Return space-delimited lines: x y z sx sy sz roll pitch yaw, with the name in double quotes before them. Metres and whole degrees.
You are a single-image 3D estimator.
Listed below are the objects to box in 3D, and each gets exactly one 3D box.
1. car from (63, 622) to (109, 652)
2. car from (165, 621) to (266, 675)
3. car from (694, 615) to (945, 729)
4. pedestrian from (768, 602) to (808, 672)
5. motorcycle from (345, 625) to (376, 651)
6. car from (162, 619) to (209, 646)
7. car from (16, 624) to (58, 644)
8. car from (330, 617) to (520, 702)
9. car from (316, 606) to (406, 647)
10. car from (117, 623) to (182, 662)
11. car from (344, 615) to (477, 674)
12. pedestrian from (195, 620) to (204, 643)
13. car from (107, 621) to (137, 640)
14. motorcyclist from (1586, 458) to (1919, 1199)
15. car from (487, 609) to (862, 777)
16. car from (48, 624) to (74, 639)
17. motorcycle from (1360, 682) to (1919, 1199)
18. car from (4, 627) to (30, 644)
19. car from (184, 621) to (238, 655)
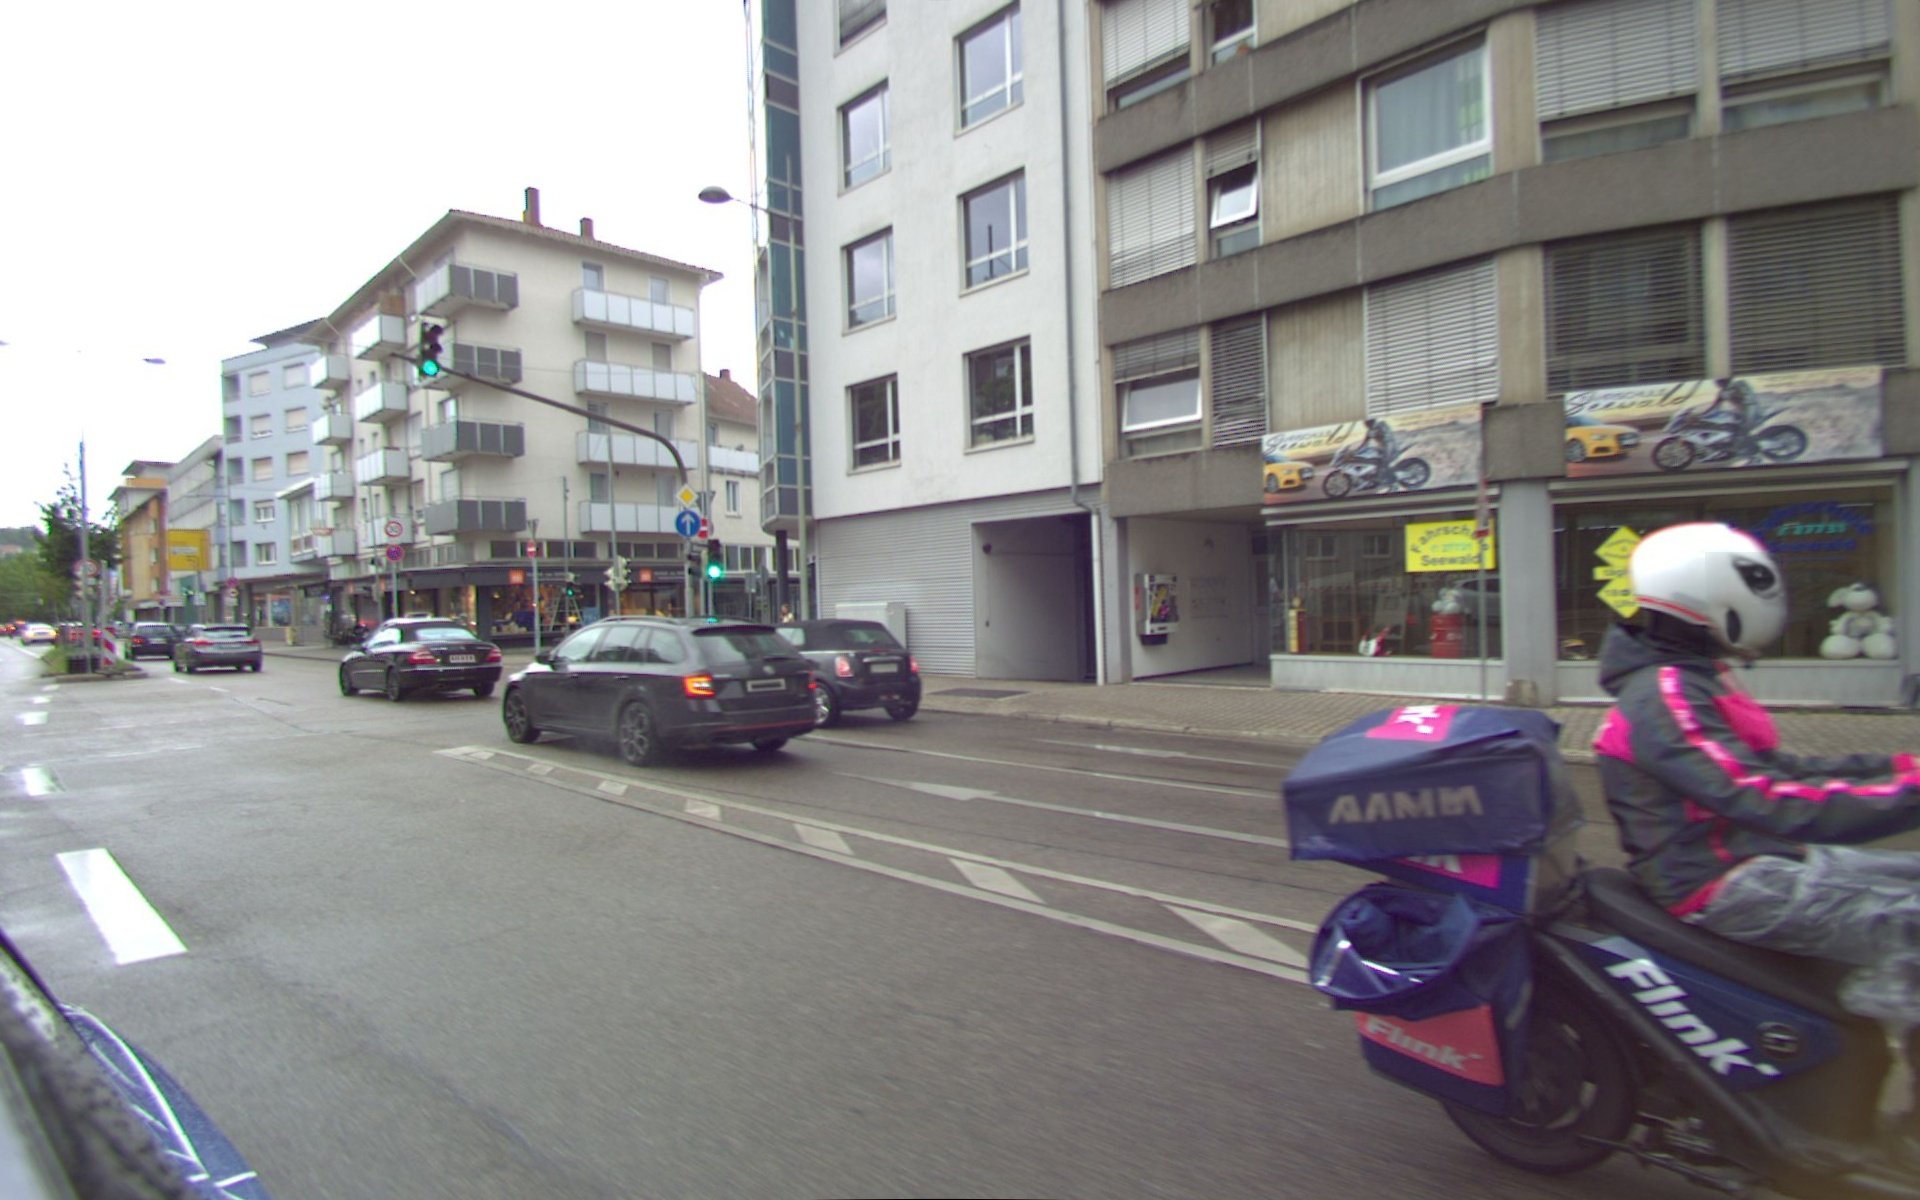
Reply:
"car" -50.519 2.113 58.444 1.825 1.606 4.094 -1 -1 -43
"car" -22.785 1.401 30.914 1.831 1.485 4.651 0 -1 -45
"car" -2.091 0.935 14.475 3.595 1.410 1.703 -1 -1 44
"pedestrian" -4.088 0.867 24.081 0.615 1.620 0.834 -1 -1 -34
"motorcycle" -27.577 1.719 46.561 2.197 1.095 0.661 -1 3 45
"car" -47.818 2.004 62.482 1.825 1.508 4.003 -4 1 -44
"car" -66.420 2.451 72.808 4.615 1.428 1.825 -2 -3 43
"car" -10.181 1.028 19.090 4.604 1.376 1.804 -1 -1 43
"car" -32.811 1.440 55.470 3.940 2.070 1.897 -1 0 -43
"car" -34.760 1.792 43.369 1.808 1.555 4.287 -1 -1 -44
"car" -15.085 1.178 27.687 4.605 1.485 1.907 -1 -2 44
"pedestrian" -56.565 2.325 75.276 0.505 1.701 0.531 1 0 -44
"car" -72.125 2.597 87.127 1.751 1.601 4.030 1 -2 -43
"motorcyclist" 1.900 0.499 2.220 0.862 1.504 0.907 -1 0 34
"car" -3.297 0.860 11.156 4.486 1.470 1.962 -1 -2 43
"car" -86.276 3.025 97.136 1.678 1.452 3.842 1 -2 -44
"motorcycle" 2.020 0.826 2.140 2.096 1.200 0.582 -1 0 34
"car" -94.140 3.548 101.014 1.752 1.656 3.842 1 -2 -45
"car" -36.601 1.841 49.400 1.751 1.535 4.289 -1 -1 -42
